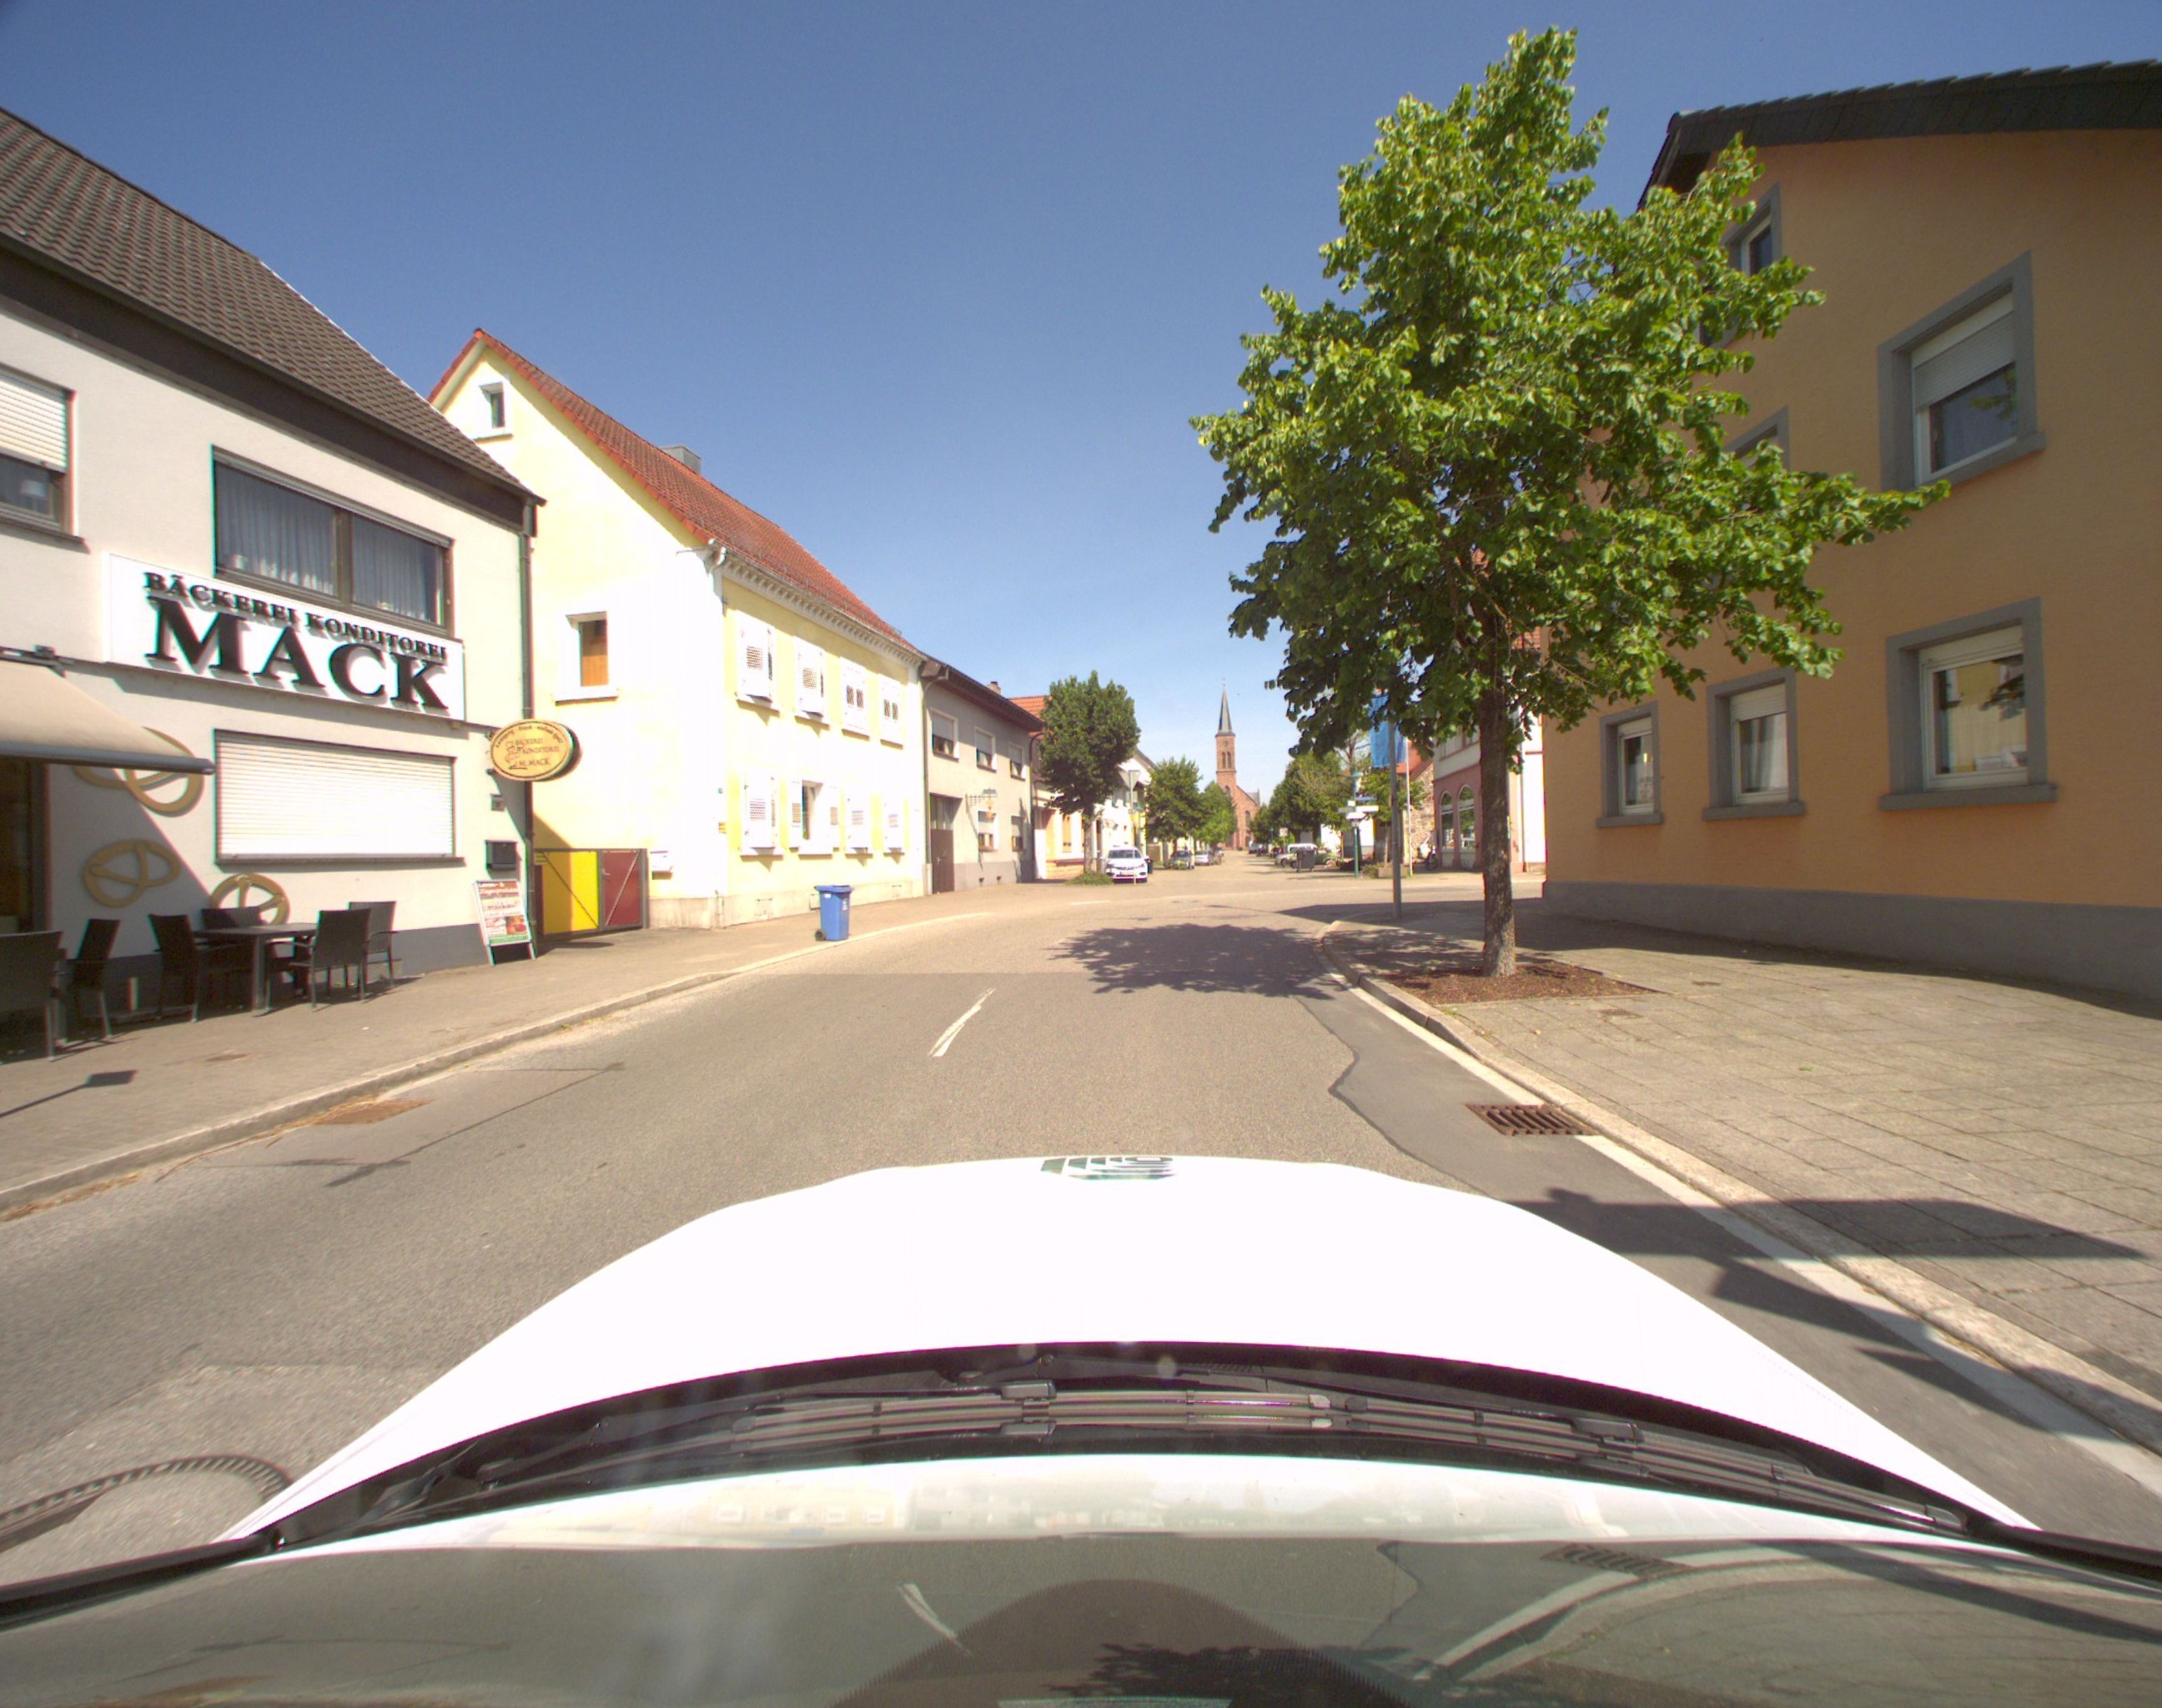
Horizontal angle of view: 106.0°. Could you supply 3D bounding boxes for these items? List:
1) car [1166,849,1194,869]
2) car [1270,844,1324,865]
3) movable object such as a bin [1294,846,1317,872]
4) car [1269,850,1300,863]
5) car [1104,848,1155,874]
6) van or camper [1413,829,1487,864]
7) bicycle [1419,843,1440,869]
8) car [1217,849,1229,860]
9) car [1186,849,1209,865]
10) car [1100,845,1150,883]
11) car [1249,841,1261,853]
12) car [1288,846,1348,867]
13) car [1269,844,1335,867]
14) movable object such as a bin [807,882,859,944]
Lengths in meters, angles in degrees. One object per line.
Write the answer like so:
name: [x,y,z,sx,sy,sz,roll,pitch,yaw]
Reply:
car: [8.116,0.396,66.438,1.981,1.574,4.012,-2,0,10]
car: [17.427,0.010,65.870,4.123,1.568,2.006,-1,0,11]
movable object such as a bin: [12.257,0.262,44.417,1.179,1.338,0.792,-2,0,15]
car: [27.898,0.317,111.714,3.963,1.618,2.005,-2,0,9]
car: [2.926,0.373,47.934,1.970,1.440,5.232,-1,0,15]
van or camper: [22.716,-0.457,50.325,3.953,2.013,2.010,-2,0,20]
bicycle: [16.216,0.086,37.897,0.589,1.136,1.755,-2,0,14]
car: [25.522,0.030,146.644,1.982,1.816,4.009,-2,0,8]
car: [11.006,0.285,77.140,1.984,1.464,4.006,-1,0,5]
car: [1.790,0.390,34.283,1.843,1.440,4.513,-1,0,0]
car: [34.419,-1.335,161.228,2.230,2.278,4.517,0,0,12]
car: [16.468,0.196,56.762,3.898,1.344,2.006,-1,0,11]
car: [17.100,0.092,63.216,4.772,1.623,2.006,-1,0,11]
movable object such as a bin: [-4.148,0.981,13.660,0.640,0.980,0.614,-1,0,4]
